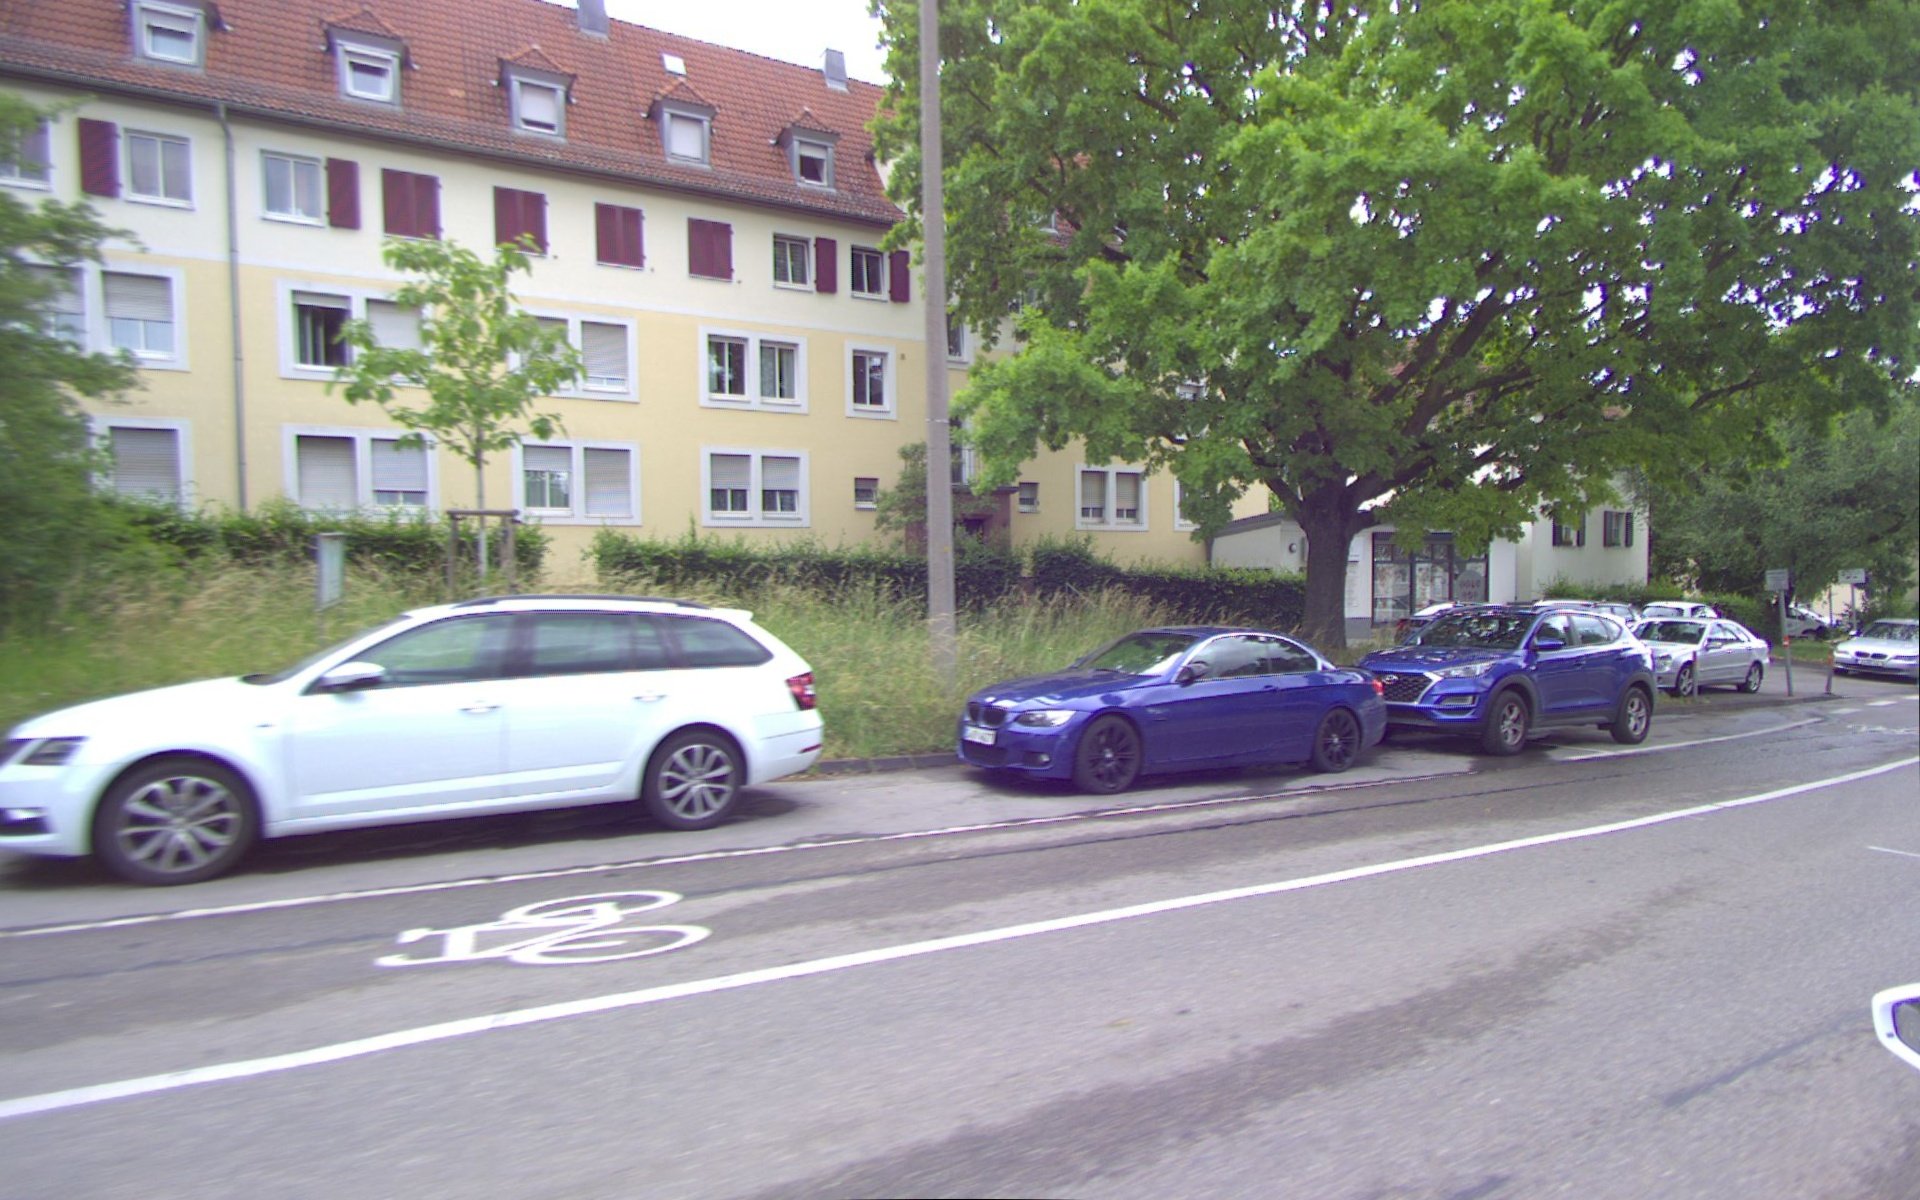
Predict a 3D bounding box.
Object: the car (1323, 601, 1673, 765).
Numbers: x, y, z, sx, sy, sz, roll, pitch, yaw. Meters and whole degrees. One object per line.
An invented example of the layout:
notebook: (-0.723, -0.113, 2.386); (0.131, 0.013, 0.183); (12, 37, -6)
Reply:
car: (6.607, 0.856, 12.207); (4.483, 1.634, 1.706); (0, 1, -31)

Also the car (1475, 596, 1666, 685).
car: (13.104, 0.825, 21.538); (3.953, 1.655, 1.753); (1, 3, -30)

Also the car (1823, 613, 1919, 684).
car: (24.690, 1.233, 26.350); (4.700, 1.655, 1.752); (1, 1, -32)

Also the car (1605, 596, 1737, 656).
car: (21.401, 0.764, 30.201); (4.242, 1.655, 1.751); (1, 1, -33)

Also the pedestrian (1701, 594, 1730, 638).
pedestrian: (29.039, 0.605, 38.618); (0.822, 1.635, 0.625); (1, 1, -35)

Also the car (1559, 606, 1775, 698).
car: (13.729, 0.956, 19.461); (4.340, 1.556, 1.753); (1, 1, -30)

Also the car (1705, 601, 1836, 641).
car: (42.560, 1.059, 52.853); (1.980, 1.838, 4.960); (1, 1, -34)

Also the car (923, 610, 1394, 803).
car: (1.942, 0.843, 9.368); (4.289, 1.408, 1.706); (1, 0, -31)

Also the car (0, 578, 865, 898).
car: (-3.120, 0.684, 6.510); (4.703, 1.479, 1.706); (2, 1, -31)

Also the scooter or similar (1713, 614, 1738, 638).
scooter or similar: (28.415, 0.962, 37.267); (1.188, 0.854, 0.324); (1, 1, -33)

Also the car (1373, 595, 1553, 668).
car: (12.019, 0.716, 23.940); (4.391, 1.490, 1.751); (1, 3, -32)

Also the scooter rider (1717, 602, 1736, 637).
scooter rider: (28.472, 0.734, 37.302); (0.553, 1.293, 0.349); (1, 1, -32)
